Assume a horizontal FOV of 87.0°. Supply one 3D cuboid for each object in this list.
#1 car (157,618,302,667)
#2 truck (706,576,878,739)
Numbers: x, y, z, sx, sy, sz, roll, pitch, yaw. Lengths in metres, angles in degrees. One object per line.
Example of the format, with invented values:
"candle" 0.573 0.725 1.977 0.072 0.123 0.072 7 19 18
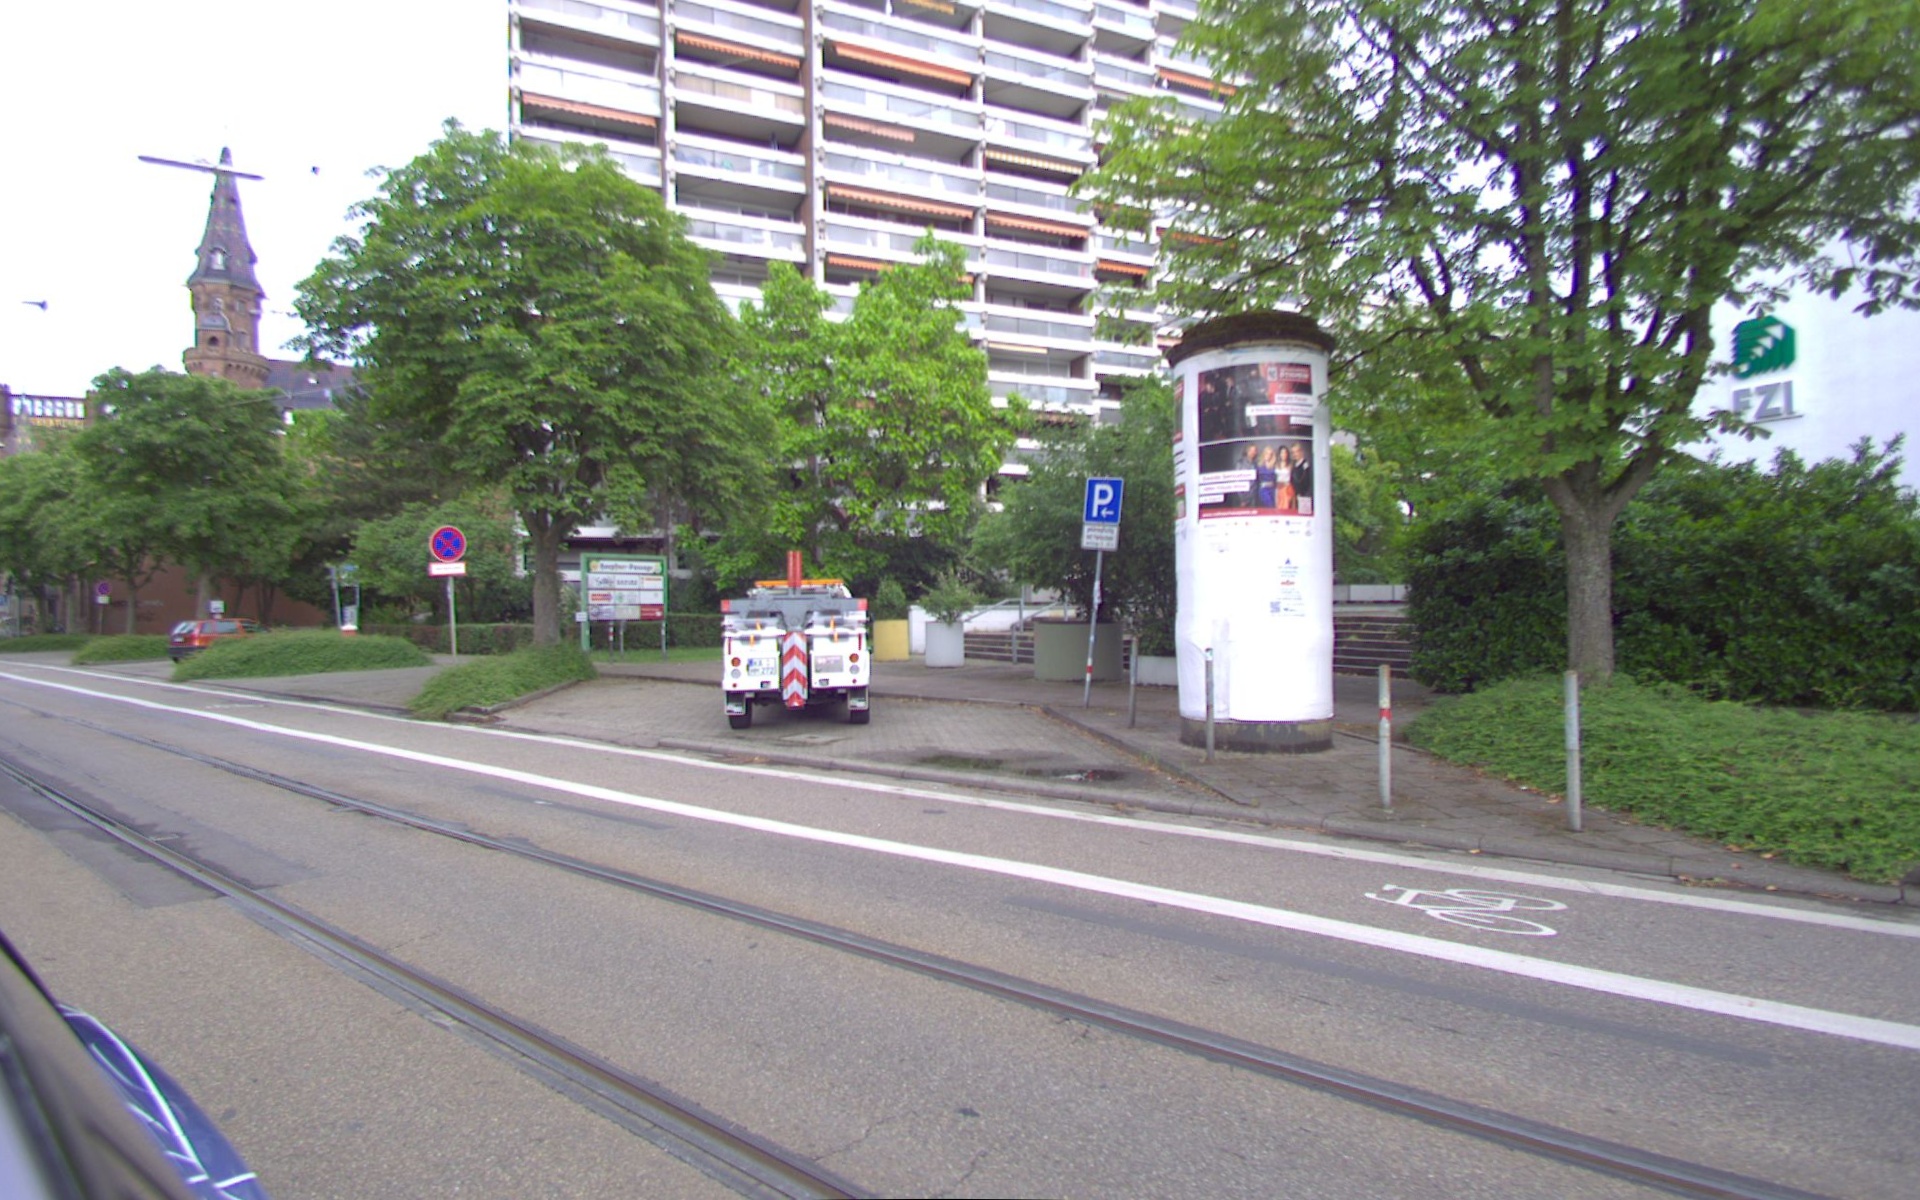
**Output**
"car" -23.520 1.338 32.725 1.625 1.387 3.473 0 0 25
"truck" -2.206 0.690 14.444 1.969 1.862 5.070 -1 0 -5
